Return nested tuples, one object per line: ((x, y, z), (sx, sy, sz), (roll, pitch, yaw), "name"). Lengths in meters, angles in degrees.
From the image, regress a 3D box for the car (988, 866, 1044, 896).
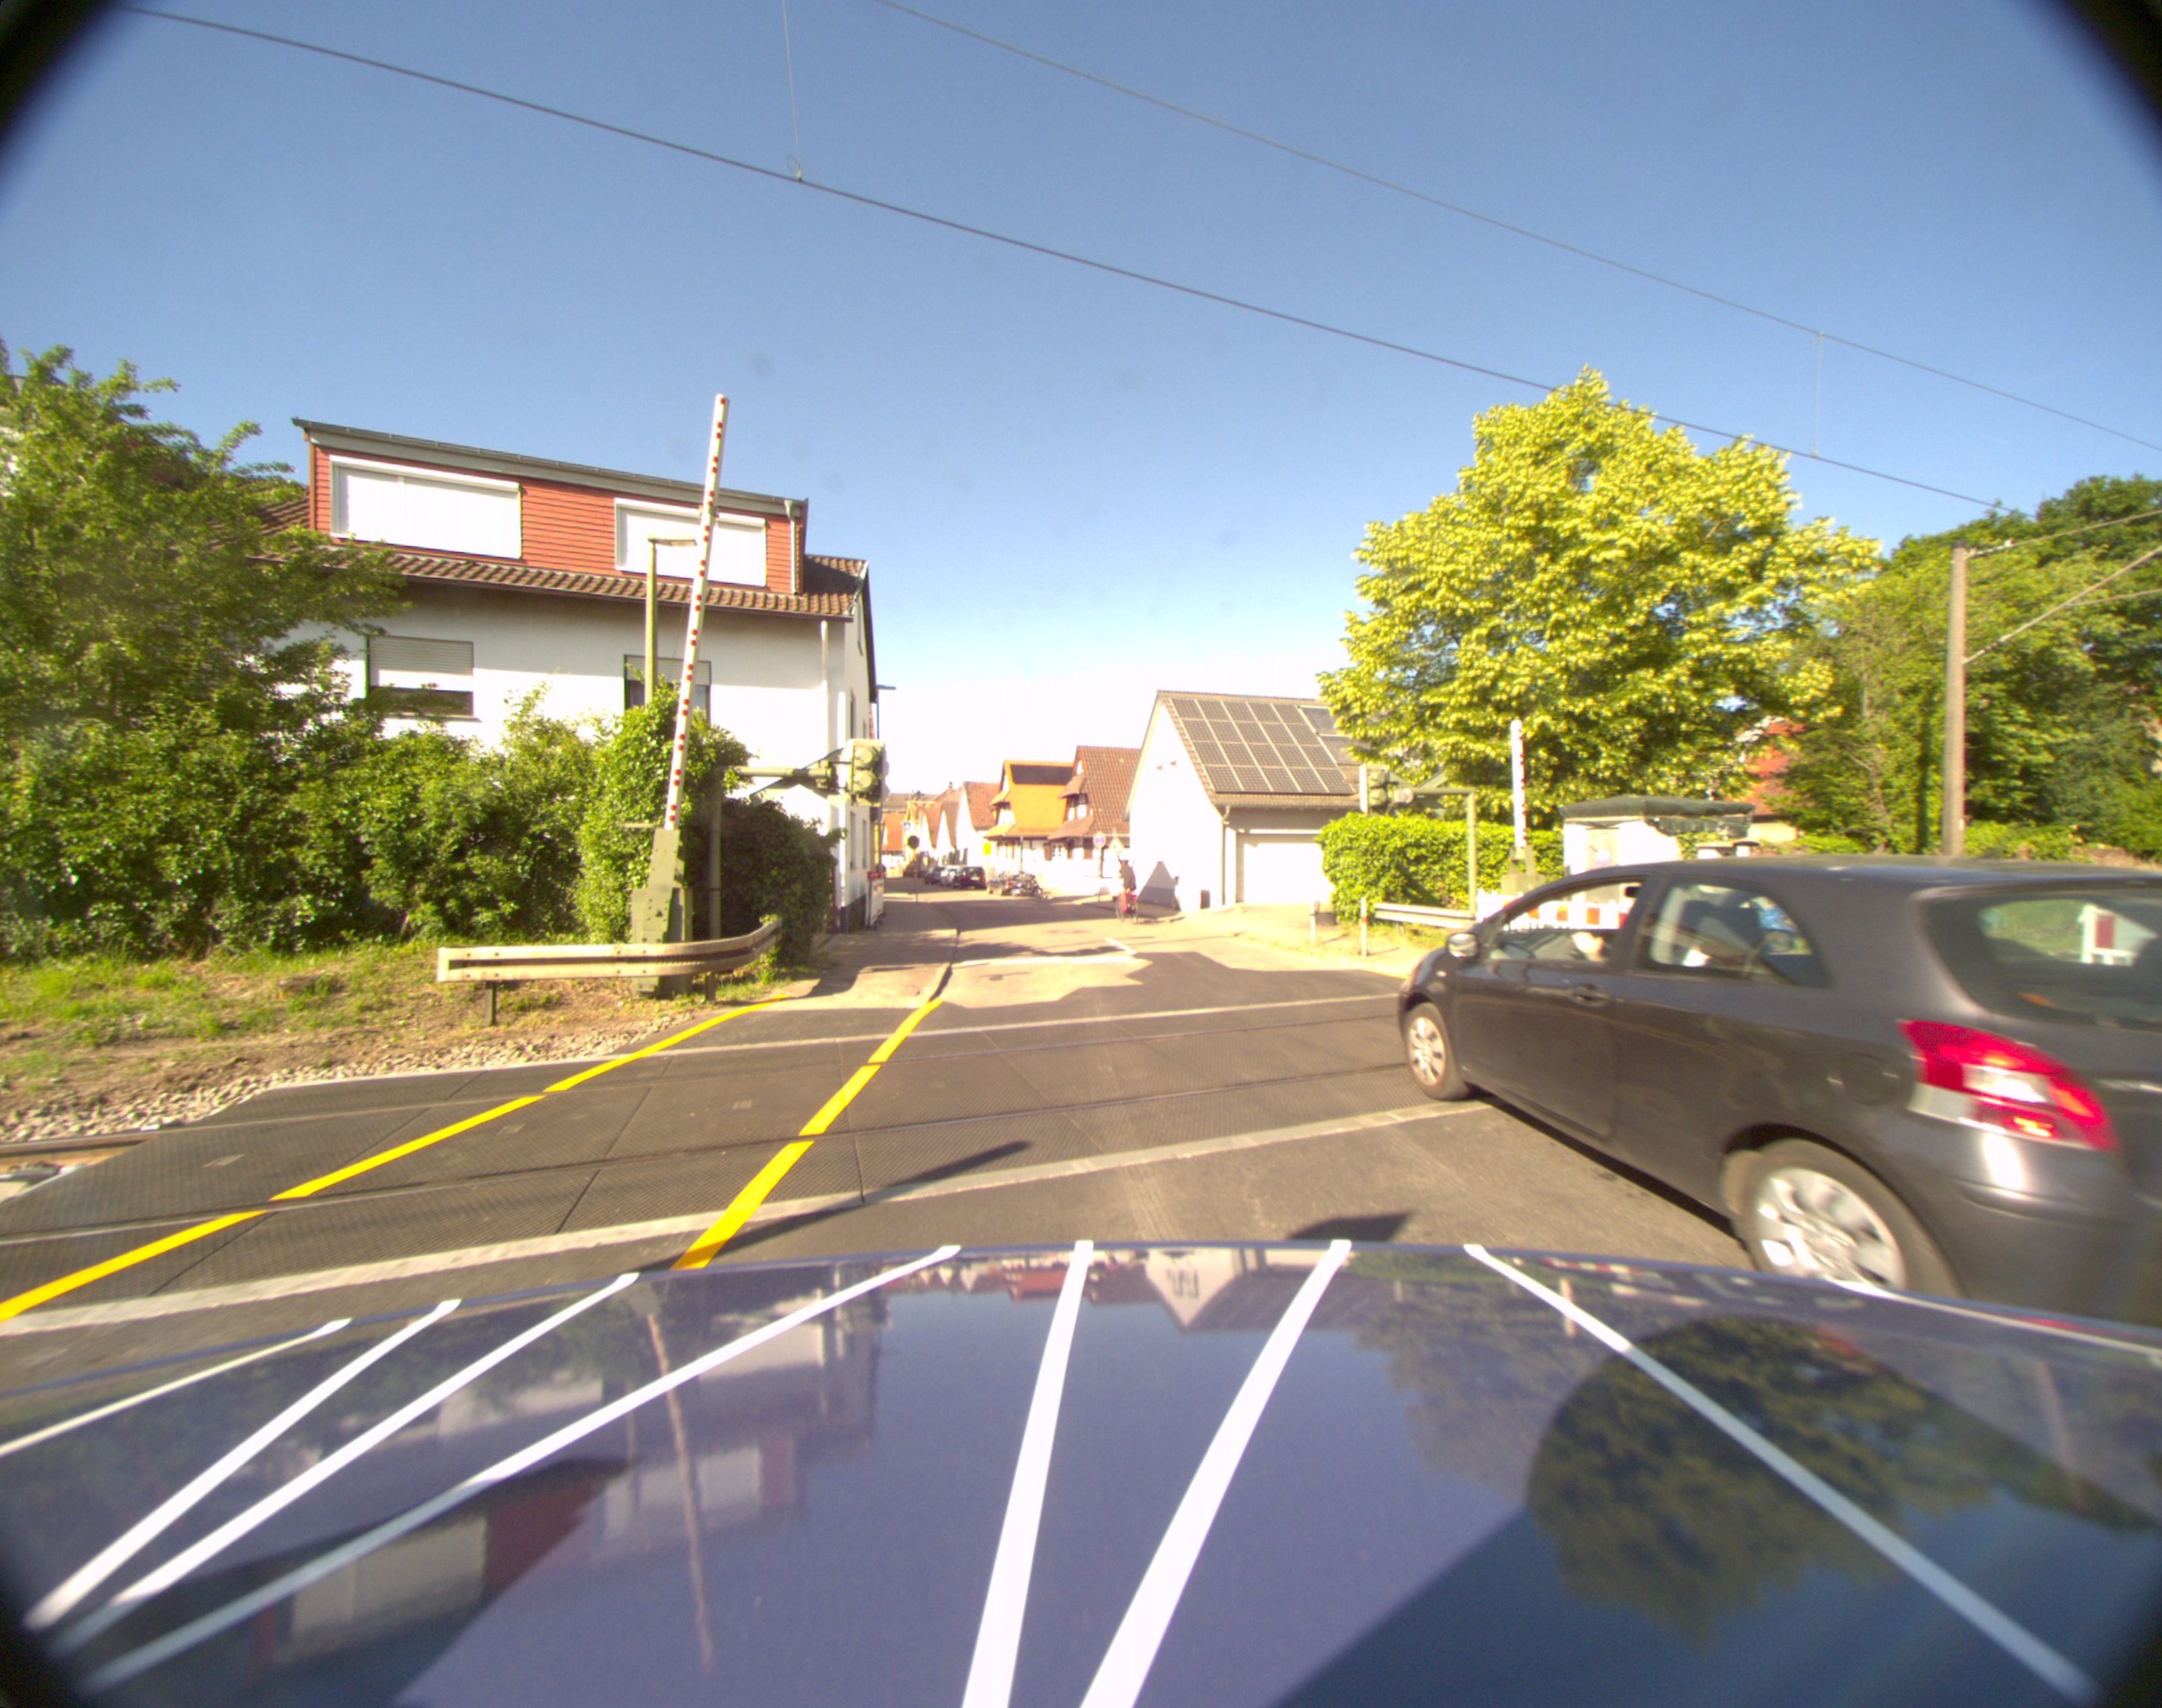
((-3.577, 1.407, 40.892), (1.852, 1.398, 5.028), (1, 0, -19), "car")

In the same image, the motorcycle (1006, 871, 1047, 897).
((-2.698, 1.469, 37.695), (1.989, 1.224, 0.628), (0, 0, 25), "motorcycle")

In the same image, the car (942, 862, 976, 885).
((-9.164, 1.416, 56.884), (1.824, 1.557, 4.161), (0, 0, -19), "car")

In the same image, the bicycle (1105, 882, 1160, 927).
((1.322, 1.306, 20.090), (0.887, 0.999, 2.060), (2, 0, -12), "bicycle")

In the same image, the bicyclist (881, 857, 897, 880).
((-19.726, 1.442, 77.996), (1.259, 2.295, 1.240), (-3, 2, -22), "bicyclist")

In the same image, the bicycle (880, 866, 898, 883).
((-19.704, 2.111, 77.990), (1.259, 1.543, 3.992), (-3, 2, -21), "bicycle")

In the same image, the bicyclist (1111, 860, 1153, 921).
((1.344, 0.955, 20.036), (0.851, 1.532, 0.872), (1, 1, -12), "bicyclist")

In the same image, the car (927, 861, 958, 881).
((-11.588, 1.399, 63.296), (1.750, 1.604, 3.992), (0, 0, -22), "car")

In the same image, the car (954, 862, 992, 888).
((-7.428, 1.397, 51.835), (1.791, 1.595, 4.354), (0, 0, -19), "car")

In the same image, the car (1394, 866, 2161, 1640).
((3.038, 0.859, 3.411), (1.690, 1.501, 3.653), (0, 1, -1), "car")
